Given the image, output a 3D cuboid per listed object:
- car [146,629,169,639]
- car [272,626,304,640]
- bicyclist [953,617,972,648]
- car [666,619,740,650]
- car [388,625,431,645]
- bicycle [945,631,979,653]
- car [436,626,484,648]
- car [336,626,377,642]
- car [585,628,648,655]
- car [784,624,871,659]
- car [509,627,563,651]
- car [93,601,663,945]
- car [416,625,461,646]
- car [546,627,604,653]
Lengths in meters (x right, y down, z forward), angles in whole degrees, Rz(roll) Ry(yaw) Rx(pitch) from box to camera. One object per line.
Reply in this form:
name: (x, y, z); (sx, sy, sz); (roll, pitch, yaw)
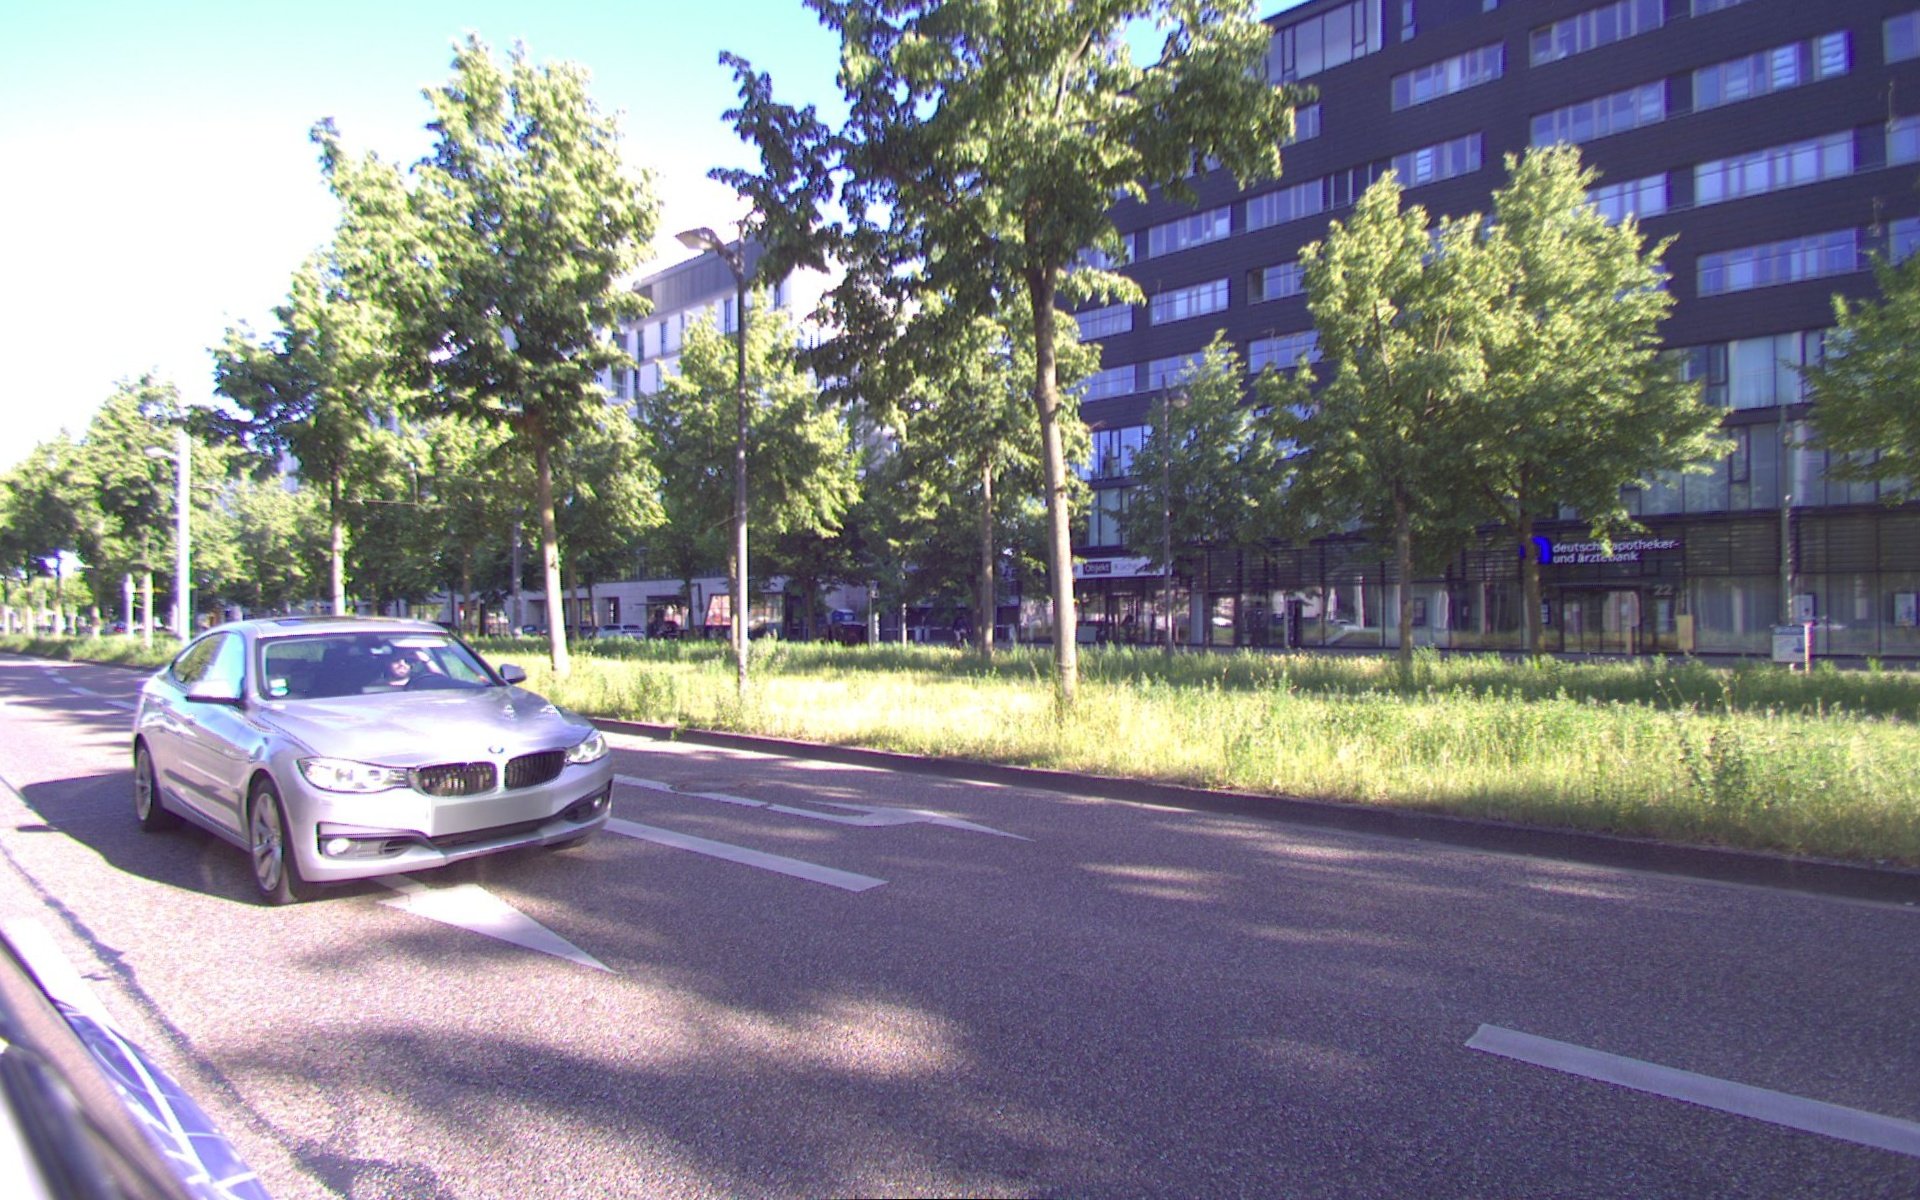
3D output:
car: (-114.348, 4.866, 144.207); (4.001, 1.406, 1.971); (-2, -2, 44)
car: (-72.246, 3.567, 108.783); (3.998, 1.406, 1.972); (-2, -2, 41)
bicyclist: (0.121, 1.526, 47.877); (0.820, 1.435, 0.472); (-2, -2, 41)
car: (-14.083, 1.869, 55.348); (4.182, 1.610, 1.926); (-2, -2, 41)
car: (-46.297, 2.925, 85.102); (4.182, 1.610, 1.859); (-2, -2, 41)
bicycle: (0.087, 1.984, 47.907); (1.755, 1.043, 0.472); (-1, -2, 41)
car: (-38.378, 2.811, 77.700); (4.182, 1.610, 1.859); (-2, -2, 41)
car: (-55.944, 3.135, 93.812); (3.995, 1.406, 1.974); (-2, -2, 39)
car: (-21.384, 2.547, 62.963); (4.182, 1.610, 1.859); (-2, -2, 41)
car: (-6.472, 1.986, 49.124); (4.182, 1.610, 1.926); (-2, -2, 41)
car: (-29.436, 2.668, 70.195); (4.182, 1.610, 1.859); (-2, -2, 41)
car: (-4.006, 0.803, 6.586); (4.558, 1.495, 1.800); (-1, -2, 40)
car: (-41.841, 2.856, 81.206); (4.182, 1.610, 1.859); (-2, -2, 41)
car: (-25.407, 2.604, 66.784); (4.182, 1.610, 1.859); (-2, -2, 41)
